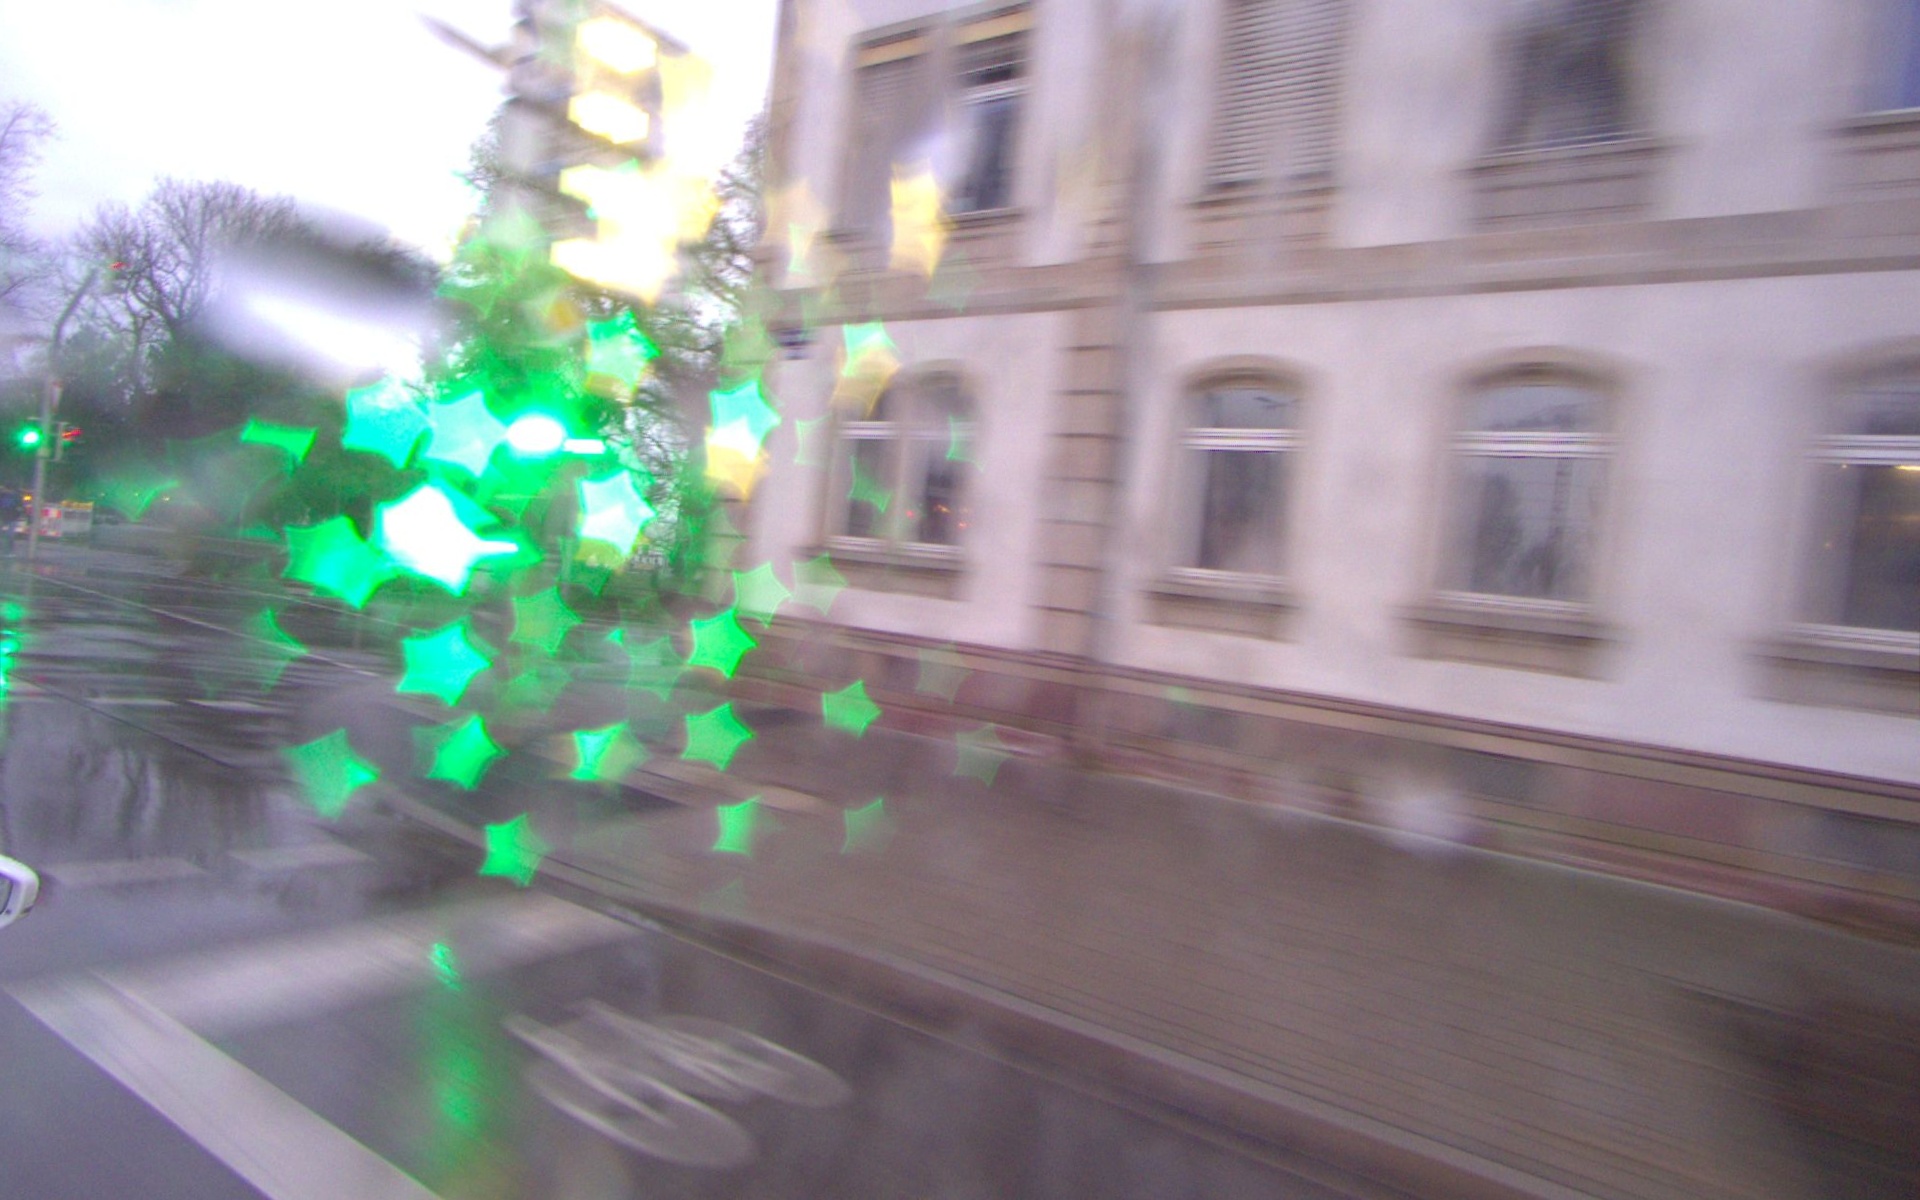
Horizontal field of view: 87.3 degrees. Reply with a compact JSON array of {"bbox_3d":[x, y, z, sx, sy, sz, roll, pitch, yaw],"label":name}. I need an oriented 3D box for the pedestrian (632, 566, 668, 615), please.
[{"bbox_3d":[-11.478,-0.342,37.247,0.835,1.660,0.727,7,-1,8],"label":"pedestrian"}]

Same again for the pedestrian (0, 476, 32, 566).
[{"bbox_3d":[-21.149,-1.764,22.230,0.710,1.901,0.668,8,-1,-39],"label":"pedestrian"}]
